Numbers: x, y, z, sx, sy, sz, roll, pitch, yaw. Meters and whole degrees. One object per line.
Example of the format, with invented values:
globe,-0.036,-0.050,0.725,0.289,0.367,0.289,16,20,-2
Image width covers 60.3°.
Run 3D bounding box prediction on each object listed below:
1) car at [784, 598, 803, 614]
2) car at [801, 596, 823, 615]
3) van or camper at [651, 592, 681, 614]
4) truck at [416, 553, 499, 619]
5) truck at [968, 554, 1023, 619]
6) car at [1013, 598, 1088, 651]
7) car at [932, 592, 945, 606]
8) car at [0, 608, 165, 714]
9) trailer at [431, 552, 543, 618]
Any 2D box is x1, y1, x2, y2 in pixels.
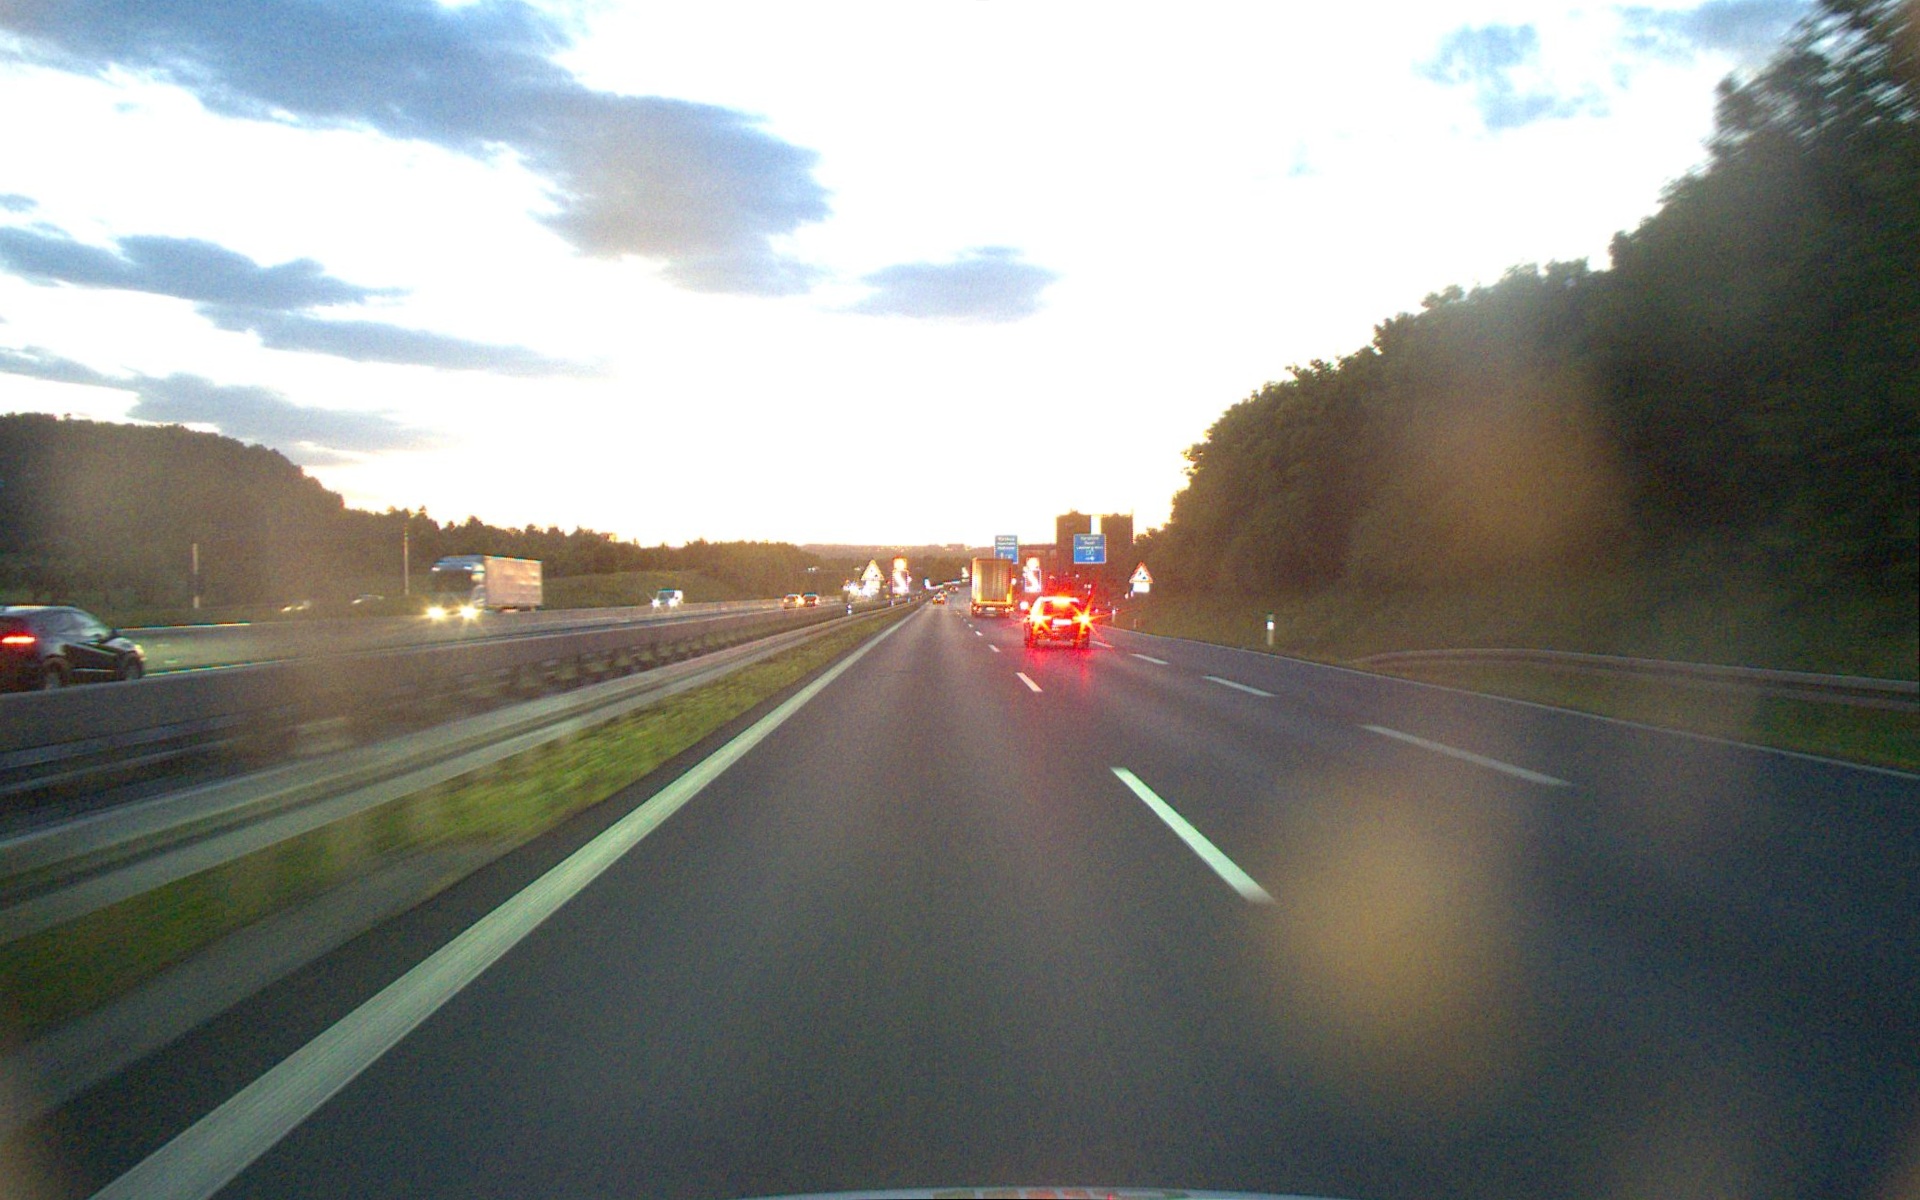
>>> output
car,-16.814,0.634,167.214,1.604,1.573,3.394,-1,0,-1
car,-13.315,0.506,149.166,1.678,1.634,3.721,-1,0,-1
van or camper,-26.082,0.278,146.986,1.852,1.940,5.538,0,0,-2
truck,-29.385,-0.792,96.991,3.243,3.682,5.496,-1,0,-1
truck,2.458,-0.930,117.749,3.439,4.376,9.888,-1,0,-1
car,2.654,0.698,49.309,1.876,1.467,3.998,-1,0,-2
car,-3.414,-0.142,260.266,1.953,2.049,3.999,-1,0,-1
car,-15.237,0.958,27.545,1.834,1.588,4.519,-1,0,-1
trailer,-29.539,-0.853,104.137,3.259,3.831,13.882,-1,0,-1
